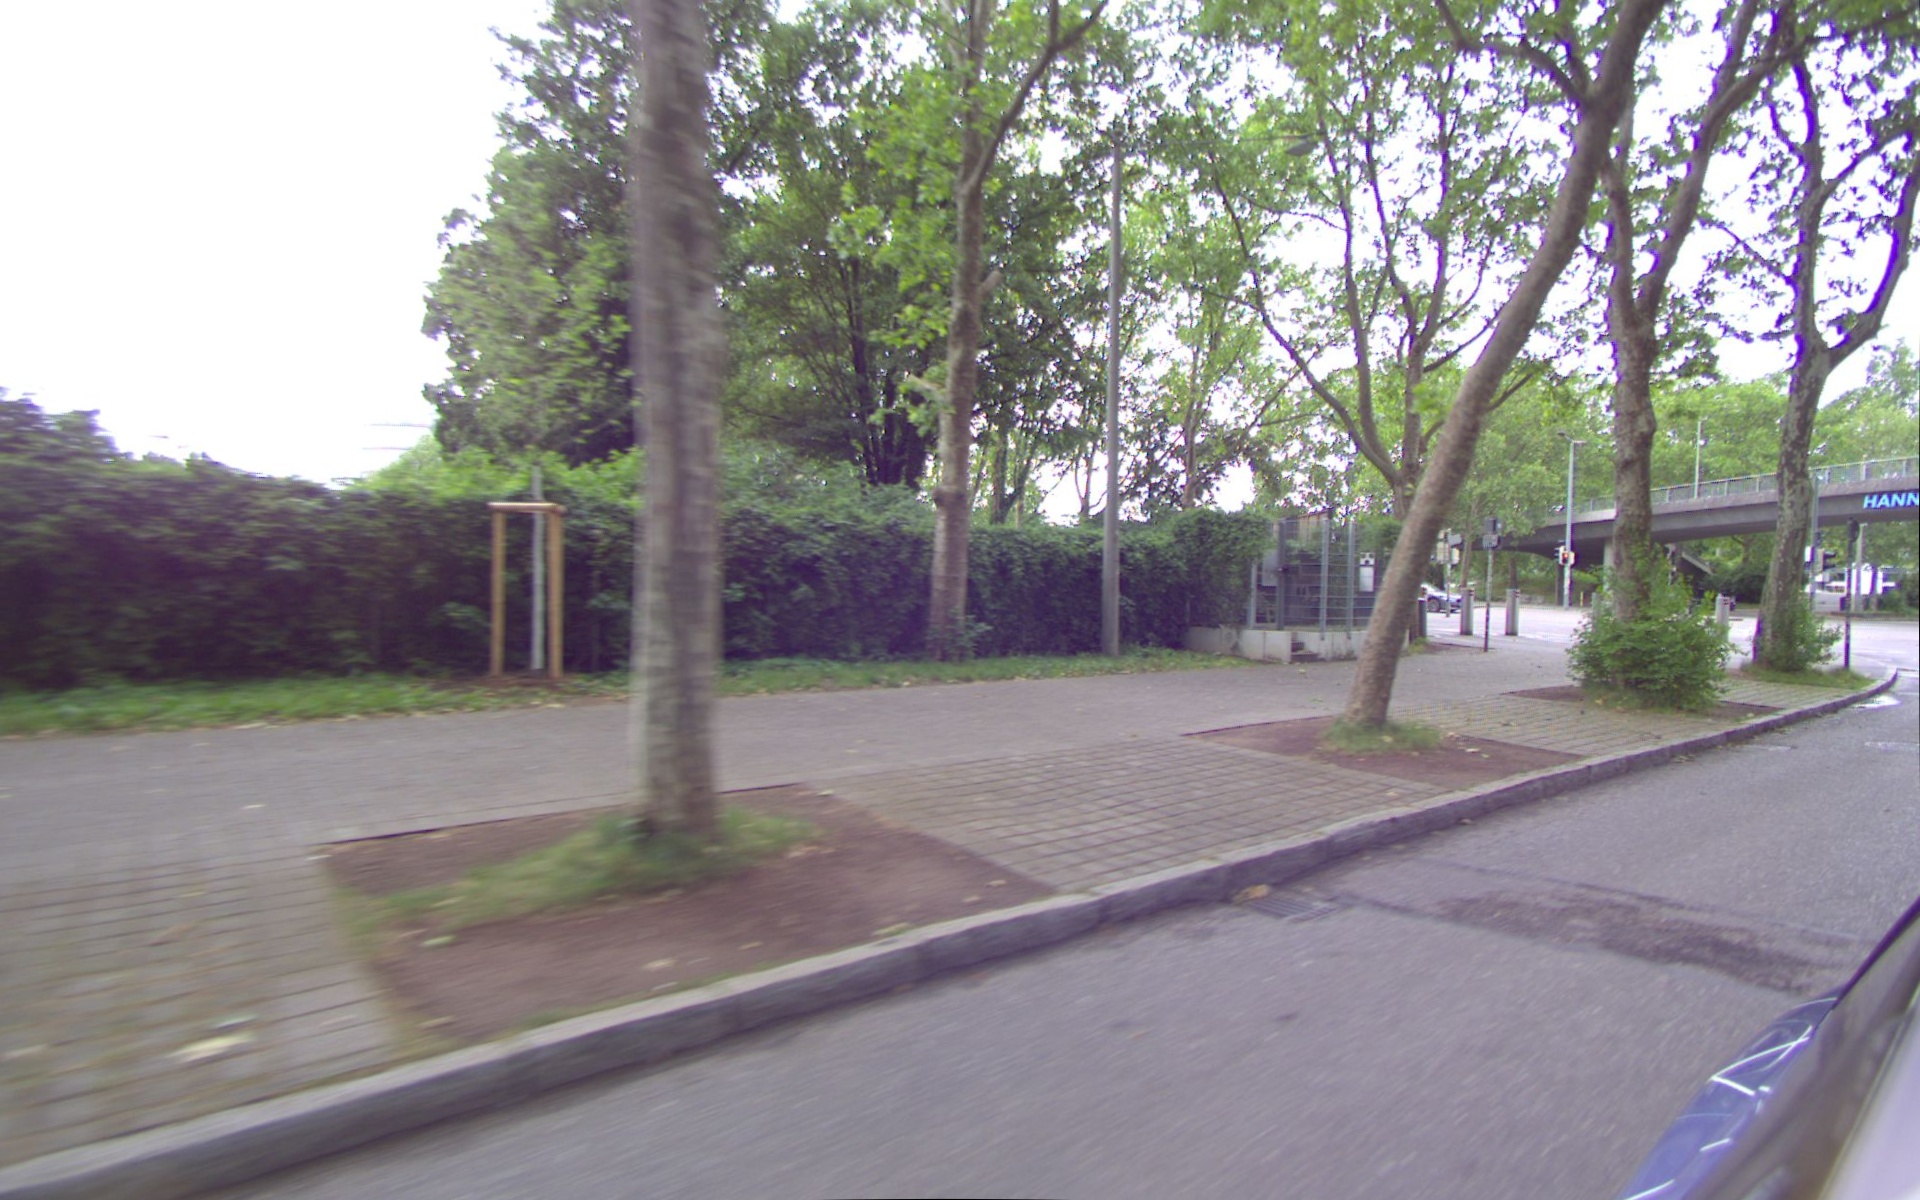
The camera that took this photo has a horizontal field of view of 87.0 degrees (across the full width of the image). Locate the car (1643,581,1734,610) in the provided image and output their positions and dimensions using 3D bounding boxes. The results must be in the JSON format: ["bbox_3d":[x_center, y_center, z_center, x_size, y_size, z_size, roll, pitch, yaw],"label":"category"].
[{"bbox_3d":[39.031,-0.251,54.356,3.682,1.337,1.747,2,4,28],"label":"car"}]

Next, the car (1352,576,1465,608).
[{"bbox_3d":[21.528,-0.409,48.741,1.853,1.464,4.683,0,1,-38],"label":"car"}]
